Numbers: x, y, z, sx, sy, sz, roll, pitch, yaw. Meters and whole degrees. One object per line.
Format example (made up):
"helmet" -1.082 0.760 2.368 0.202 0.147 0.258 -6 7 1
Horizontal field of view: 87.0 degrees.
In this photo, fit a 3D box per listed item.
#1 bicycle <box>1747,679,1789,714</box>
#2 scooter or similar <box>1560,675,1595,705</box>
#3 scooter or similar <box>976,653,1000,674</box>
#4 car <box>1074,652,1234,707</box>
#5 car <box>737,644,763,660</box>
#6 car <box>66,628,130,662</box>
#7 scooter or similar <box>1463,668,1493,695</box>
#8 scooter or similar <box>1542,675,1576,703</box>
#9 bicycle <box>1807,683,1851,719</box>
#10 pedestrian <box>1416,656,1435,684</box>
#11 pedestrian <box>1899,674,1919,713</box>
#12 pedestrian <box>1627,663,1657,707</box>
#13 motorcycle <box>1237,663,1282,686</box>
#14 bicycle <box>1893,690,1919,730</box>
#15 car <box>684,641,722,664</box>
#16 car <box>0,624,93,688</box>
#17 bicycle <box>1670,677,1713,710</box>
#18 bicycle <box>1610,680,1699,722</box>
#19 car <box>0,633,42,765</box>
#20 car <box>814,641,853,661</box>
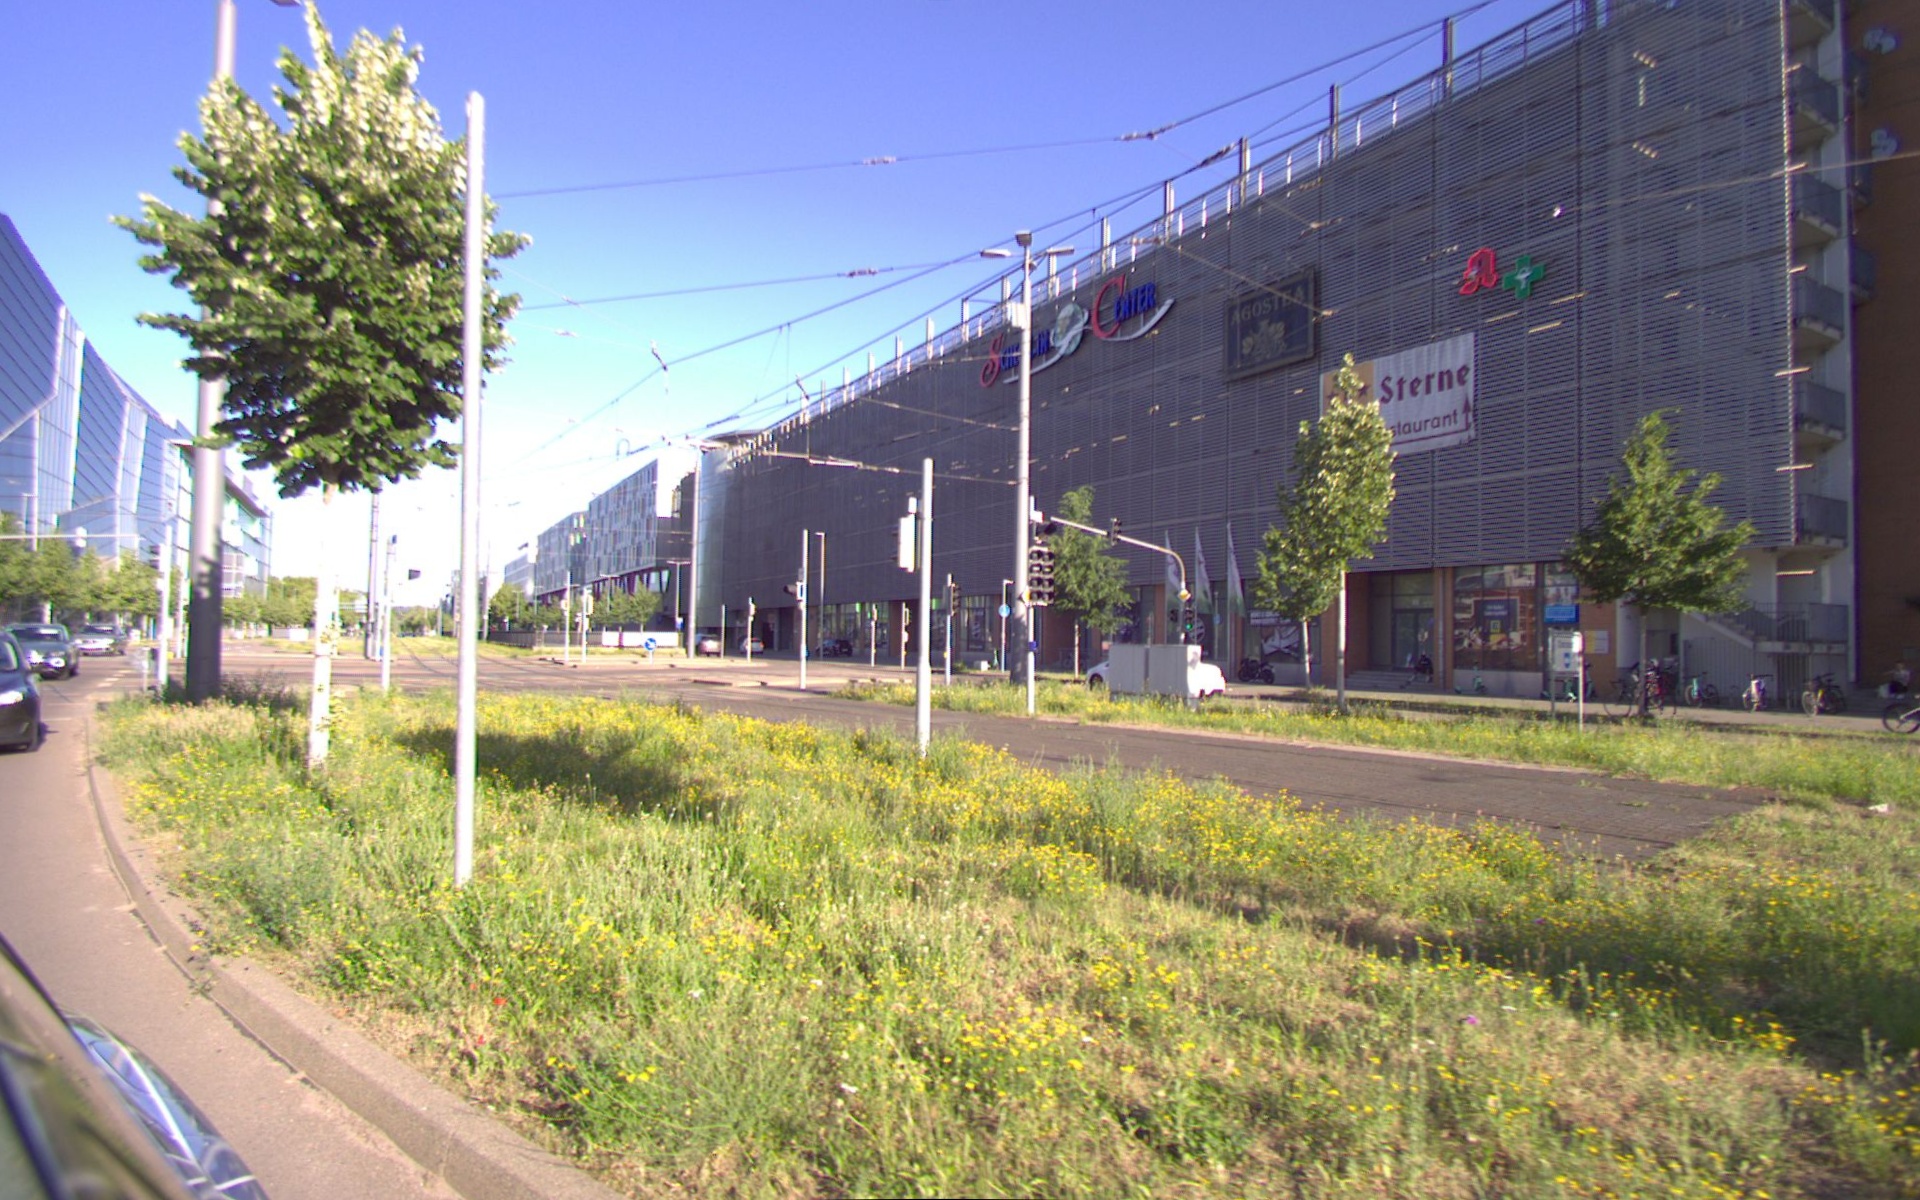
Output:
"bicycle" 22.739 2.712 28.477 1.376 0.933 0.463 2 -3 -30
"scooter or similar" 19.695 2.871 32.276 0.890 0.900 0.290 1 -3 7
"scooter or similar" 1.472 3.313 53.182 0.429 1.050 1.364 2 -2 -42
"car" 5.288 2.171 28.129 1.782 1.338 4.416 4 -4 -34
"car" -18.735 4.649 90.211 1.663 1.382 3.602 2 -3 -22
"car" -38.865 2.035 45.695 1.594 1.440 3.778 2 -3 -32
"scooter or similar" 18.266 2.875 35.697 0.286 0.900 0.904 2 -3 -30
"scooter or similar" 19.583 2.907 33.097 0.891 0.900 0.290 0 -3 10
"bicycle" 23.480 2.718 27.350 1.376 0.933 0.463 2 -3 -30
"pedestrian" 18.057 2.709 39.254 0.557 1.046 0.425 2 -3 -24
"pedestrian" 26.757 2.623 28.392 0.619 1.063 0.450 3 -3 -34
"pedestrian" 20.760 2.580 30.801 0.442 1.299 0.631 3 -3 -34
"motorcycle" 12.599 3.126 42.633 0.421 0.927 2.030 2 -3 -31
"bicycle" 21.712 2.450 22.198 0.380 0.875 1.776 3 -3 -34
"car" -18.910 3.844 74.360 1.780 1.587 4.307 3 -3 -27
"car" -25.996 1.535 28.388 1.721 1.516 3.892 8 -5 -30
"bicycle" 21.193 2.701 29.313 1.376 0.933 0.463 2 -3 -30
"bicycle" 17.125 2.476 25.002 0.380 0.930 1.776 3 -3 -34
"car" -12.375 1.113 12.296 1.665 1.444 4.159 3 -3 -41
"car" -10.125 4.033 80.731 1.559 1.542 3.760 1 -2 -35
